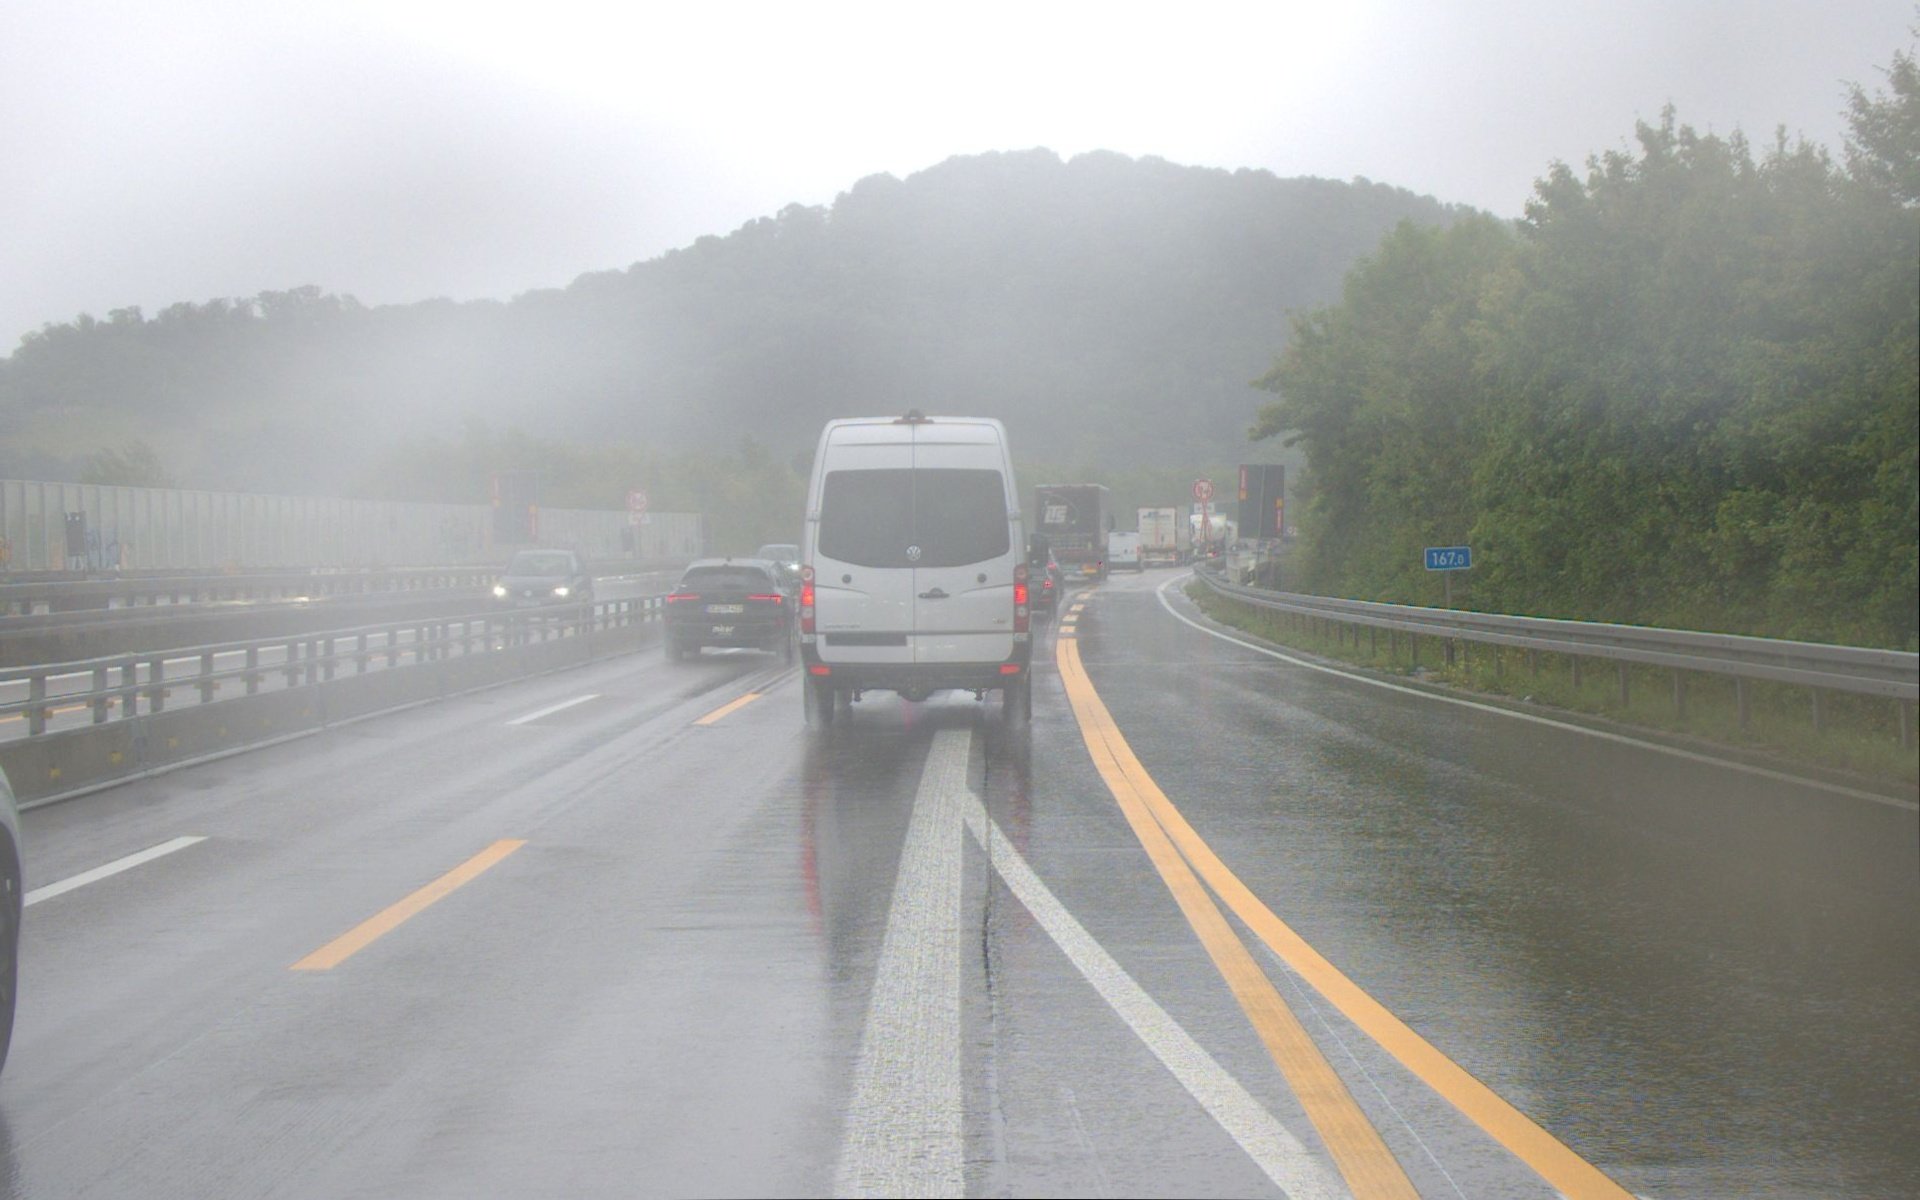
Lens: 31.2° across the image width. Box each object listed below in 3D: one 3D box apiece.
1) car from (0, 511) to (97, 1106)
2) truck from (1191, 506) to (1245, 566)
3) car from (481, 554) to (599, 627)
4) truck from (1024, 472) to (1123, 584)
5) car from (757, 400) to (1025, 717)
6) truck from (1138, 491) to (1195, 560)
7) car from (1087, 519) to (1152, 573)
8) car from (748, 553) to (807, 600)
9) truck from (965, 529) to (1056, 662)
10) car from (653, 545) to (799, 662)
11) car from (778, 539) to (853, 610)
[{"bbox_3d":[-3.579,0.564,7.917,1.993,1.612,4.796,1,1,0],"label":"car"},{"bbox_3d":[19.566,-4.834,260.364,2.900,4.391,9.619,1,1,11],"label":"truck"},{"bbox_3d":[-8.976,-0.214,73.838,1.847,1.497,4.130,1,1,2],"label":"car"},{"bbox_3d":[4.745,-2.904,141.300,3.582,4.391,9.622,1,0,4],"label":"truck"},{"bbox_3d":[-0.517,-0.363,30.868,2.145,2.562,5.389,1,0,1],"label":"car"},{"bbox_3d":[13.634,-4.870,226.172,3.037,4.391,9.621,1,1,7],"label":"truck"},{"bbox_3d":[8.839,-2.965,189.827,2.899,2.877,6.409,1,1,9],"label":"car"},{"bbox_3d":[-6.466,-0.849,122.254,1.778,1.599,4.316,1,1,1],"label":"car"},{"bbox_3d":[1.313,-0.145,85.511,1.994,3.098,8.498,1,1,2],"label":"truck"},{"bbox_3d":[-3.305,0.027,48.657,1.946,1.556,4.001,1,1,-4],"label":"car"},{"bbox_3d":[-3.416,-0.622,81.825,1.707,1.622,4.000,1,1,-2],"label":"car"}]
